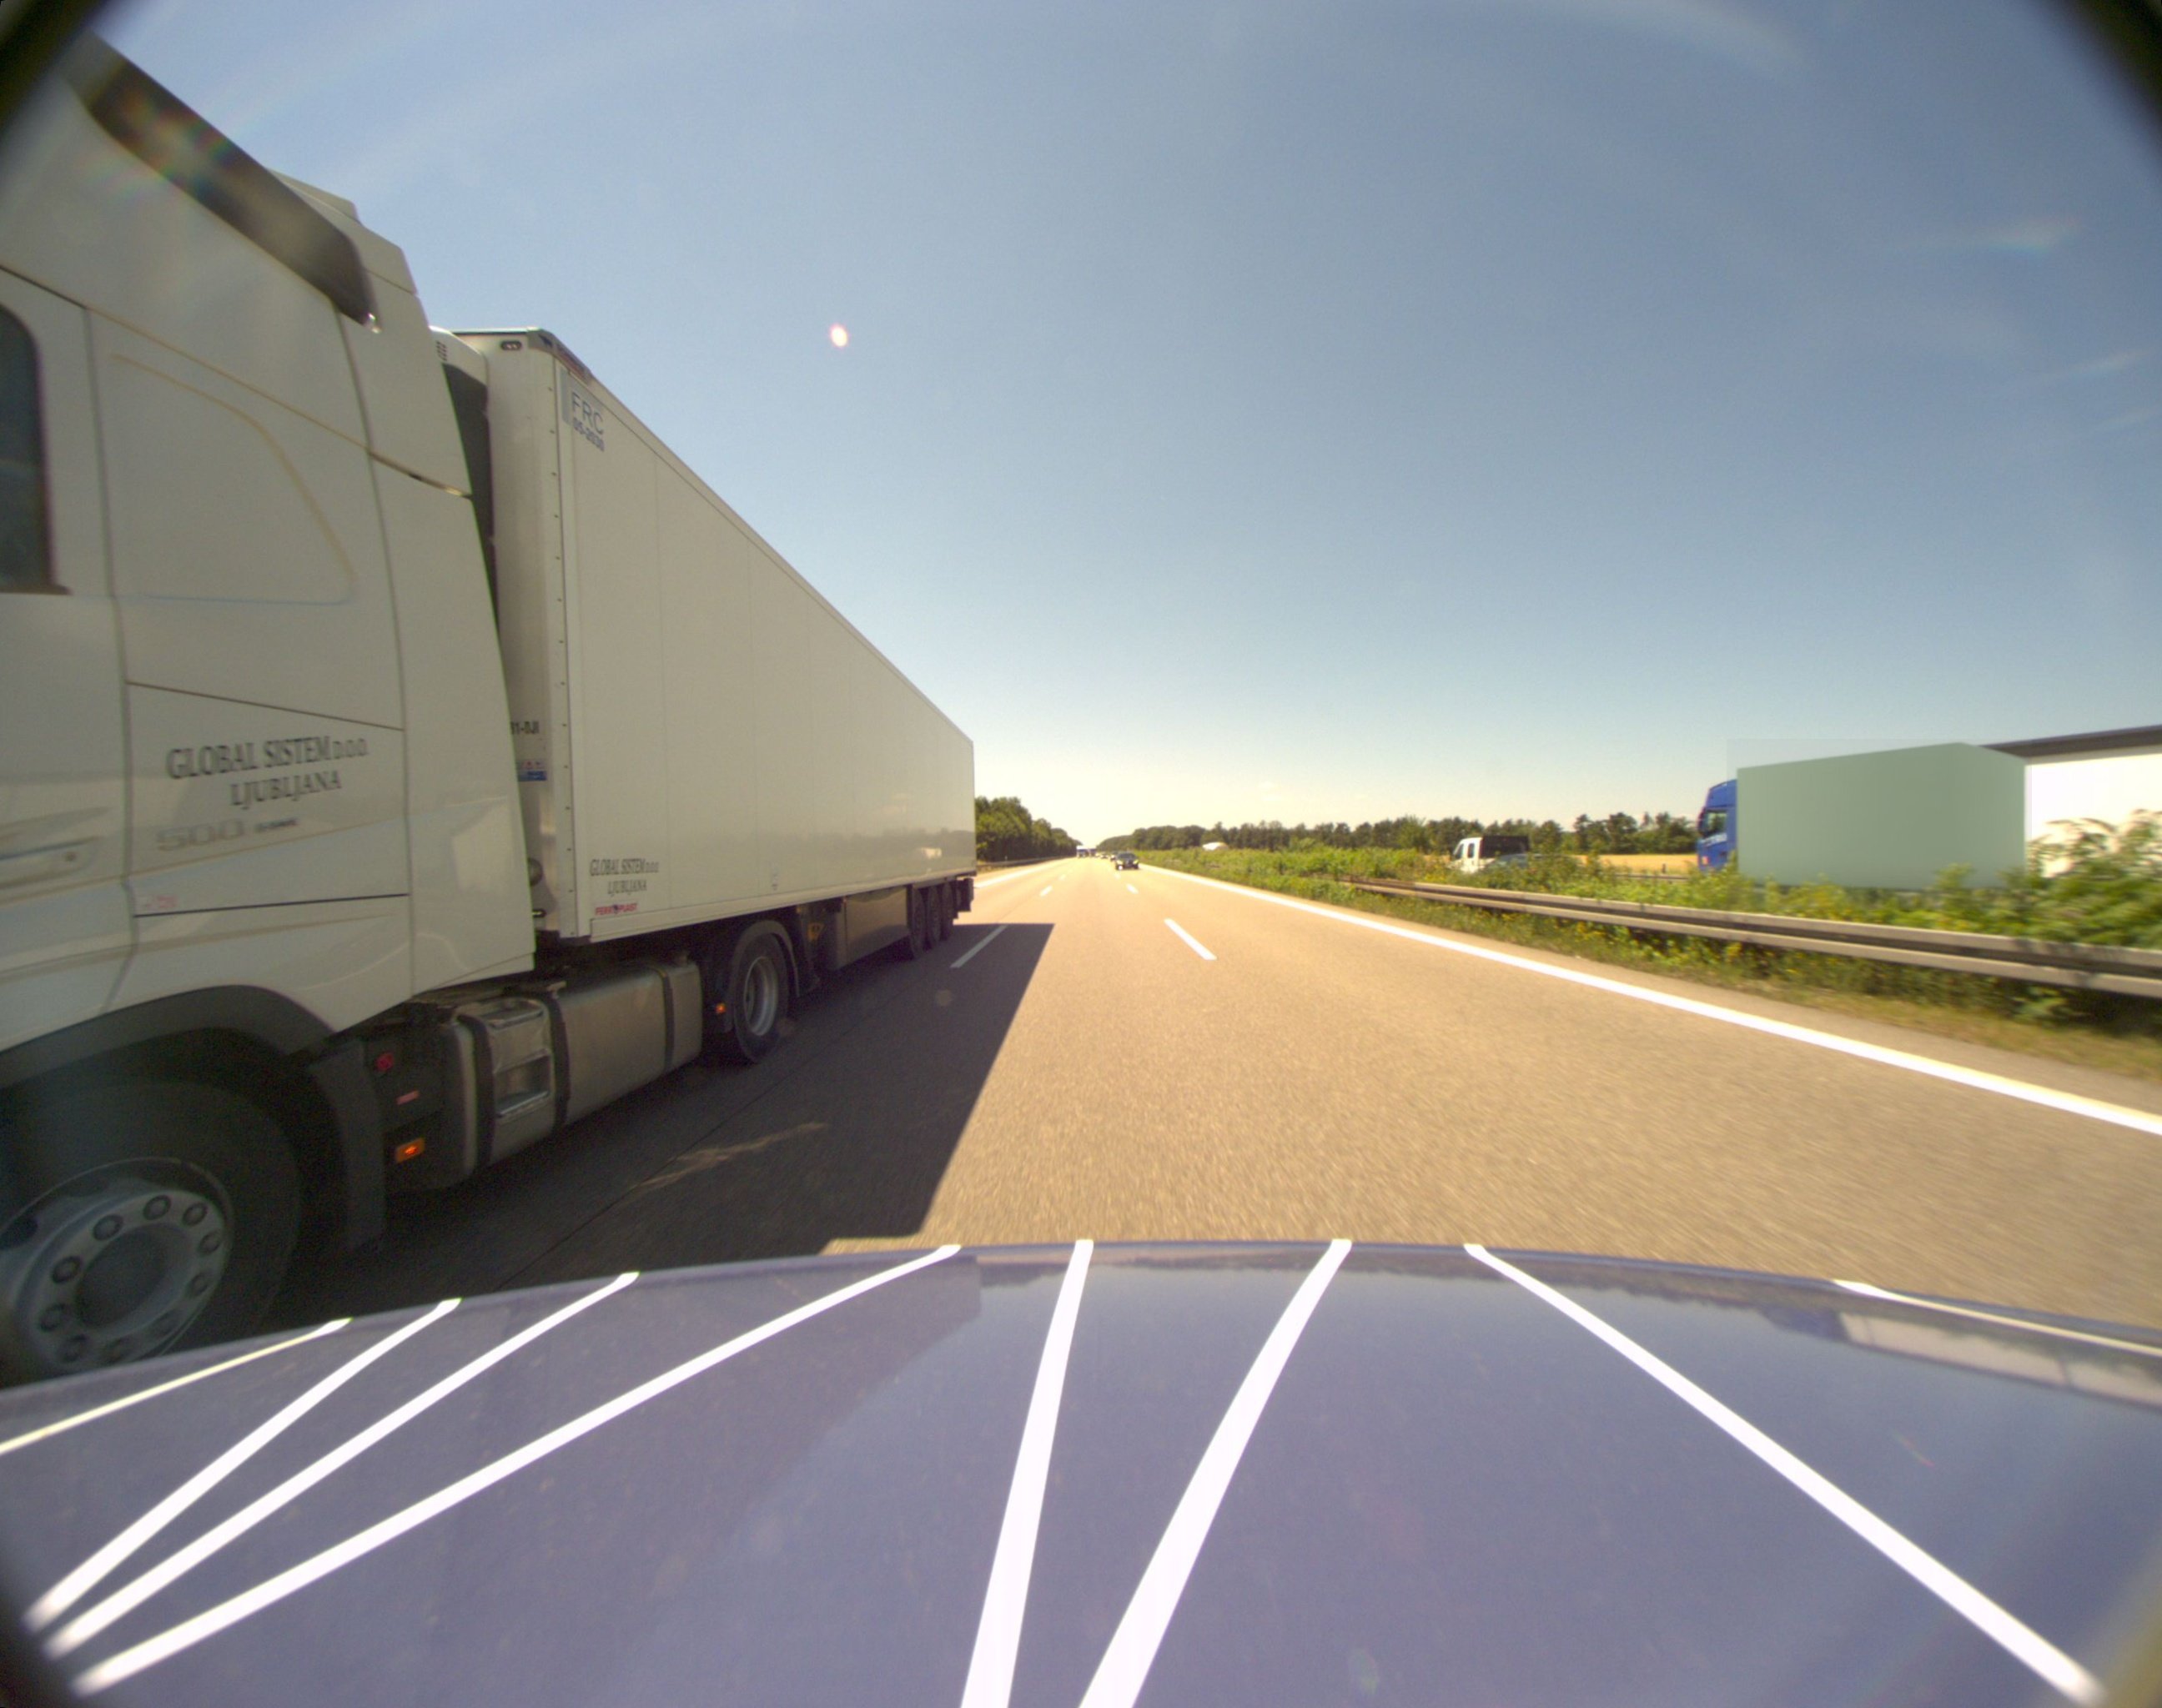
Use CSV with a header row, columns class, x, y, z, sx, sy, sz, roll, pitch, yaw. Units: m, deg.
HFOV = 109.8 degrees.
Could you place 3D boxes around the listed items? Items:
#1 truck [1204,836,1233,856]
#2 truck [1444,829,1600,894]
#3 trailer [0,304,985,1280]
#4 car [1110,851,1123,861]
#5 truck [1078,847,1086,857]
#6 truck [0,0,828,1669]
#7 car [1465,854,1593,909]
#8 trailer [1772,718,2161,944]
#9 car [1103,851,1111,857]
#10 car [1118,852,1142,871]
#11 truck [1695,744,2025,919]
class,x,y,z,sx,sy,sz,roll,pitch,yaw
truck,23.238,-1.352,128.790,2.575,3.106,13.119,-2,1,1
truck,16.773,0.221,29.477,2.253,2.141,6.572,-2,1,1
trailer,-3.559,-0.308,10.162,2.476,4.039,13.879,-2,1,1
car,5.692,0.279,121.322,1.811,1.417,4.000,-2,1,1
truck,0.427,-0.755,262.664,2.575,3.499,8.335,-2,1,1
truck,-3.635,-0.226,3.636,2.476,4.039,6.319,-2,1,1
car,13.293,0.747,22.803,1.684,1.412,3.688,-2,1,1
trailer,20.844,-0.481,14.311,3.066,4.035,13.954,-2,1,1
car,5.989,0.002,176.150,1.811,1.417,4.000,-2,1,1
car,4.078,0.623,63.659,1.811,1.460,4.000,-2,1,1
truck,20.950,-0.561,21.060,3.066,4.035,5.917,-2,1,1
